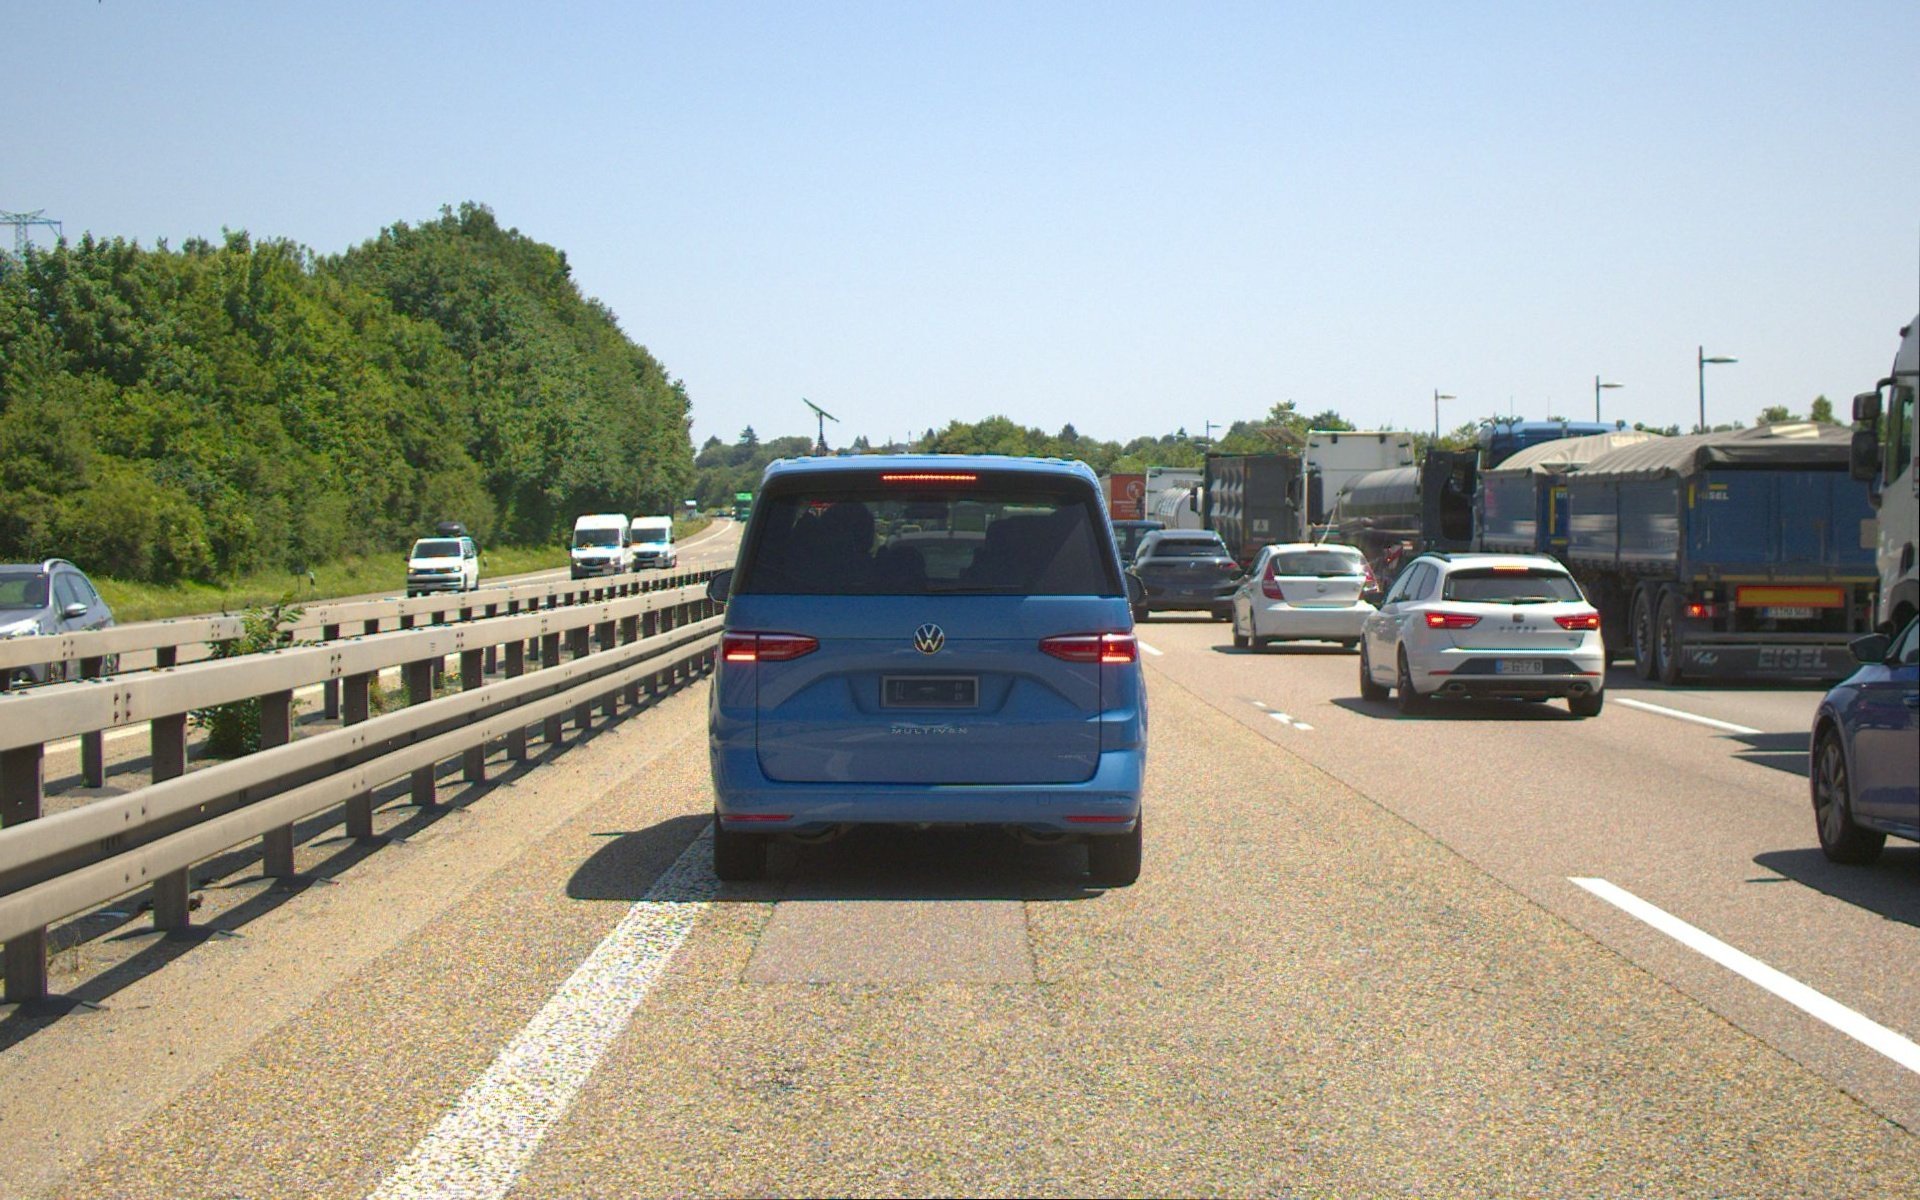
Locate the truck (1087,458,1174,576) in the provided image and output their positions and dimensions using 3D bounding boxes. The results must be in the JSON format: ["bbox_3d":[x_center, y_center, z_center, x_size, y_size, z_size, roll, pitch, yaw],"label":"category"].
[{"bbox_3d":[7.360,-3.532,149.709,3.068,4.903,10.690,1,0,0],"label":"truck"}]

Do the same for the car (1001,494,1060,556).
[{"bbox_3d":[3.222,-3.435,158.179,2.550,2.708,5.621,1,0,0],"label":"car"}]

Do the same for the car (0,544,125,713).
[{"bbox_3d":[-9.883,0.247,35.179,1.773,1.625,3.951,1,0,-1],"label":"car"}]

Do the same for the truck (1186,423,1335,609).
[{"bbox_3d":[8.665,-2.391,99.830,3.658,5.162,5.709,1,0,-1],"label":"truck"}]

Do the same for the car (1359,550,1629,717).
[{"bbox_3d":[4.748,0.255,31.077,1.867,1.356,4.000,1,1,1],"label":"car"}]

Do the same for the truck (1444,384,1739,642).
[{"bbox_3d":[8.672,-1.241,48.049,2.744,3.300,7.133,1,2,0],"label":"truck"}]

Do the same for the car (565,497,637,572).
[{"bbox_3d":[-13.533,-2.443,129.914,2.052,2.642,5.839,-3,0,-1],"label":"car"}]

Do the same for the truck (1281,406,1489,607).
[{"bbox_3d":[9.105,-1.953,74.609,3.626,4.080,7.524,1,0,1],"label":"truck"}]

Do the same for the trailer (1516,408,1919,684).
[{"bbox_3d":[8.665,-0.714,40.404,2.744,2.827,9.116,1,2,0],"label":"trailer"}]

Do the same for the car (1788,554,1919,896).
[{"bbox_3d":[4.895,0.537,14.573,1.706,1.436,4.428,1,0,0],"label":"car"}]

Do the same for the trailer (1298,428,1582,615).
[{"bbox_3d":[8.805,-1.374,65.395,3.646,3.068,15.771,1,0,2],"label":"trailer"}]

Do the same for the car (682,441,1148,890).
[{"bbox_3d":[-0.144,0.256,16.263,1.901,1.831,4.000,1,0,1],"label":"car"}]

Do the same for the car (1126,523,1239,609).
[{"bbox_3d":[4.083,-0.623,63.618,1.781,1.519,4.000,1,0,0],"label":"car"}]

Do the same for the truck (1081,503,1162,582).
[{"bbox_3d":[3.917,-1.388,83.692,1.725,1.851,4.000,1,0,0],"label":"truck"}]

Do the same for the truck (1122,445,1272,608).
[{"bbox_3d":[7.993,-2.423,118.452,3.621,5.195,15.690,1,0,-1],"label":"truck"}]

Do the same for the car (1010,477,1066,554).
[{"bbox_3d":[5.511,-5.925,243.509,3.218,5.239,8.145,1,0,-3],"label":"car"}]

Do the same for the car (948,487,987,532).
[{"bbox_3d":[0.572,-6.809,260.090,2.485,3.193,7.373,1,0,-3],"label":"car"}]

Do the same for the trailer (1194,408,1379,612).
[{"bbox_3d":[8.717,-2.325,93.691,3.646,5.119,13.076,1,0,0],"label":"trailer"}]

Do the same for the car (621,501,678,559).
[{"bbox_3d":[-14.457,-3.240,160.411,2.156,2.585,5.890,-1,0,-1],"label":"car"}]

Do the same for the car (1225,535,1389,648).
[{"bbox_3d":[4.739,-0.128,47.424,1.840,1.449,4.000,1,0,0],"label":"car"}]

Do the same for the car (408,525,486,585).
[{"bbox_3d":[-17.075,-1.490,114.685,1.864,1.898,5.493,-2,0,-2],"label":"car"}]

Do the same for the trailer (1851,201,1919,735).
[{"bbox_3d":[8.703,-0.960,24.666,2.924,4.030,6.411,0,1,0],"label":"trailer"}]

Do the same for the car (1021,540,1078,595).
[{"bbox_3d":[3.406,-1.238,131.319,1.993,2.007,4.000,1,0,0],"label":"car"}]

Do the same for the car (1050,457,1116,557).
[{"bbox_3d":[6.675,-5.009,187.489,3.218,5.239,8.144,1,0,0],"label":"car"}]
